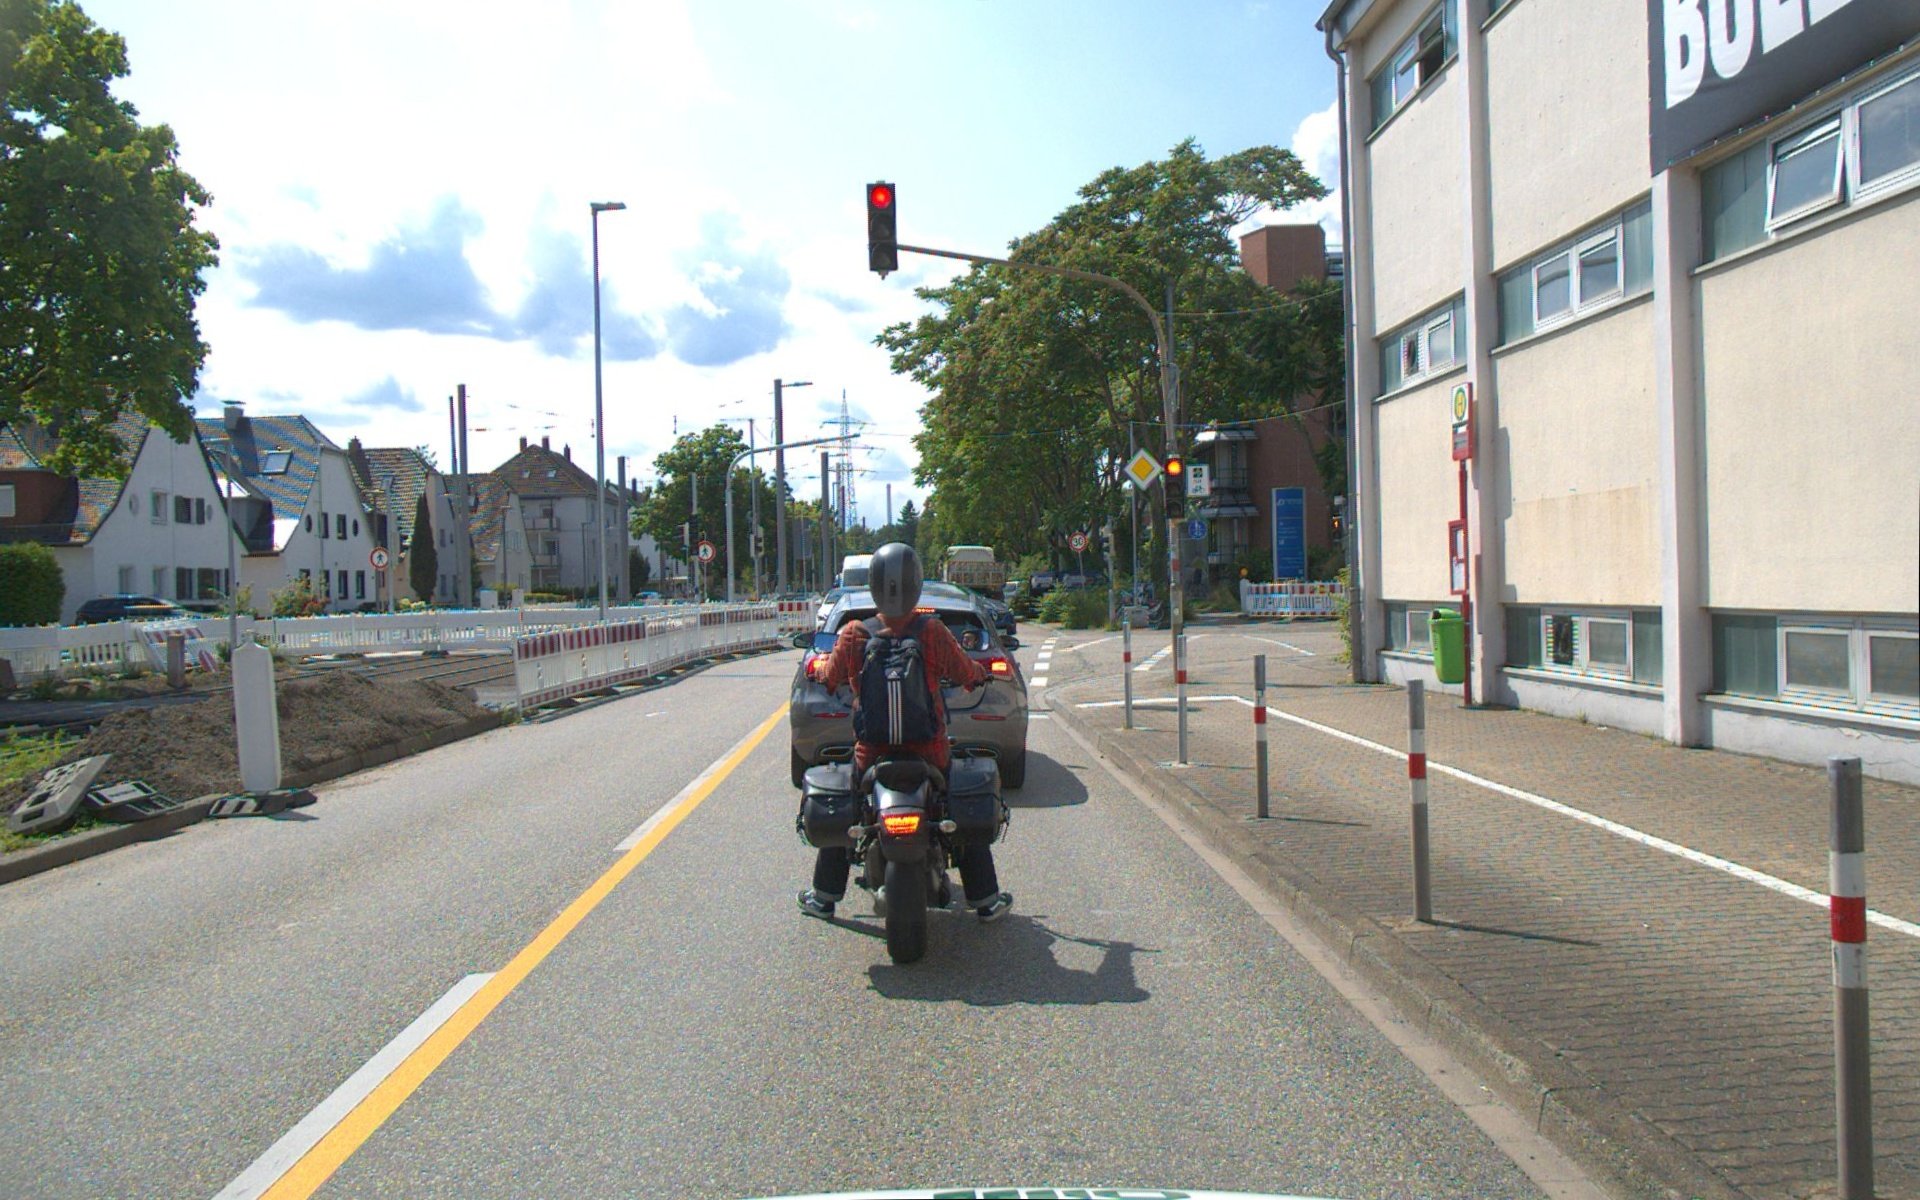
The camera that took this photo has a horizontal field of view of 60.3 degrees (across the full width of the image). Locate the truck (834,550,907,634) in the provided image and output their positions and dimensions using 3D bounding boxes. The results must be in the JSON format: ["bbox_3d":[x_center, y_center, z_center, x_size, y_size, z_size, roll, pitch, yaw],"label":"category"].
[{"bbox_3d":[-2.913,-0.337,54.807,2.050,2.519,5.196,-3,2,-1],"label":"truck"}]

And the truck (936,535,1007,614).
[{"bbox_3d":[0.572,-1.045,71.889,2.906,3.228,7.765,0,0,1],"label":"truck"}]

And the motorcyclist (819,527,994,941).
[{"bbox_3d":[-0.218,0.530,6.881,0.684,1.632,0.691,0,0,-2],"label":"motorcyclist"}]

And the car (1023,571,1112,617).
[{"bbox_3d":[4.742,-0.248,72.341,1.772,1.959,3.973,0,0,43],"label":"car"}]

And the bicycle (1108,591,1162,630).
[{"bbox_3d":[5.528,0.331,52.328,1.672,1.192,0.438,0,0,4],"label":"bicycle"}]

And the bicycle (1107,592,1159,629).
[{"bbox_3d":[5.588,0.334,53.415,1.672,1.192,0.438,0,0,4],"label":"bicycle"}]

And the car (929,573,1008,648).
[{"bbox_3d":[0.173,0.189,36.431,1.611,1.524,4.269,-1,1,0],"label":"car"}]

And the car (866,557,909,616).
[{"bbox_3d":[-2.780,-0.507,64.024,1.556,2.180,3.626,0,0,-1],"label":"car"}]

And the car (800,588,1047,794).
[{"bbox_3d":[-0.445,0.625,13.587,1.698,1.428,4.081,1,0,-6],"label":"car"}]

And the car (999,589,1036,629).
[{"bbox_3d":[2.995,0.456,87.184,1.722,2.049,3.999,0,0,-1],"label":"car"}]

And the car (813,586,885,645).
[{"bbox_3d":[-2.972,0.399,44.857,1.709,1.462,4.082,-2,0,-2],"label":"car"}]

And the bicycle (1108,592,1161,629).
[{"bbox_3d":[5.575,0.333,52.884,1.672,1.192,0.438,0,0,4],"label":"bicycle"}]

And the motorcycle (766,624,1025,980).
[{"bbox_3d":[-0.261,0.749,7.204,0.923,1.221,2.472,0,0,-1],"label":"motorcycle"}]
